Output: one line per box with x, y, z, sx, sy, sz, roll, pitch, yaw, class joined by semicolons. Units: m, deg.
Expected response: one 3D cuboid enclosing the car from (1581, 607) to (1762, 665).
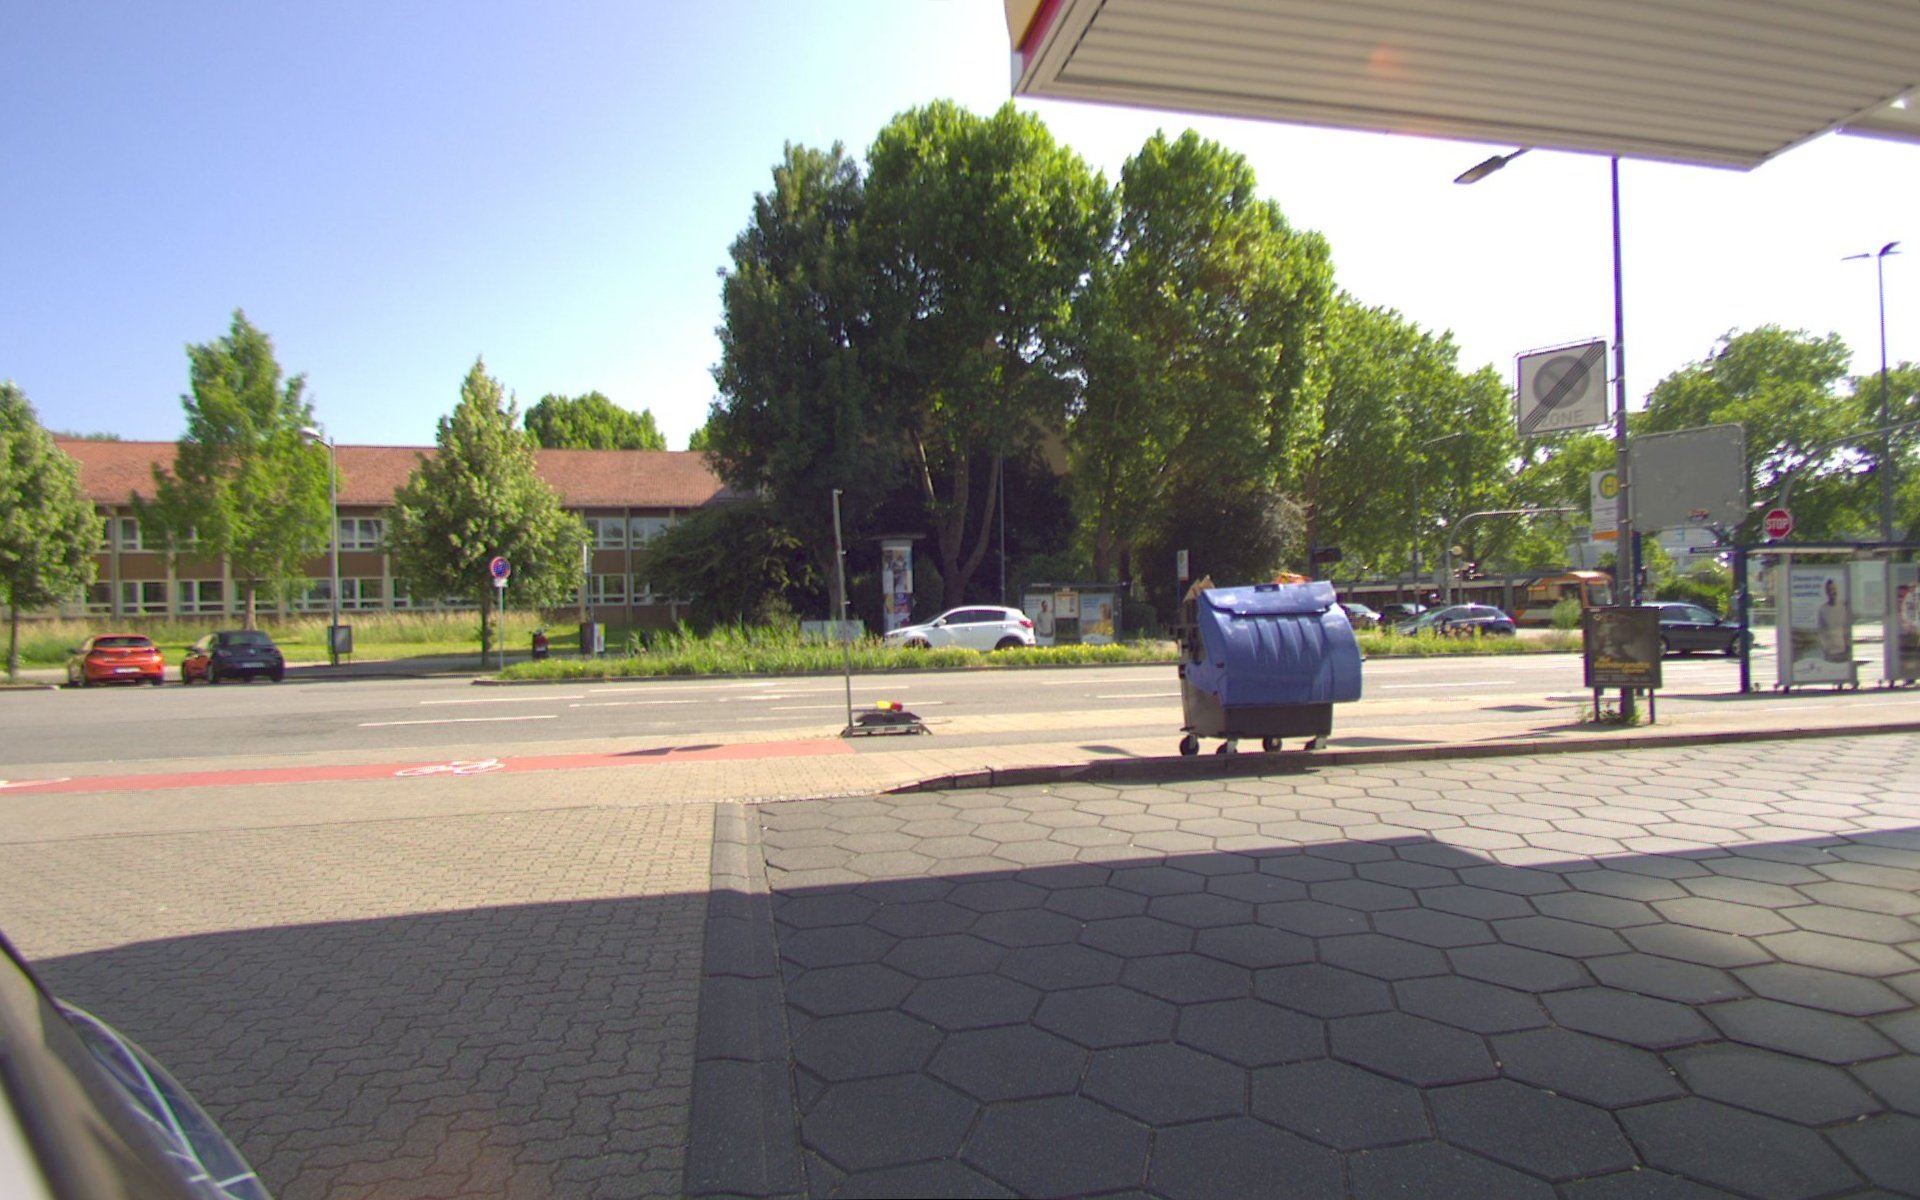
18.770;0.907;26.733;3.935;1.377;1.689;-1;1;-13;car

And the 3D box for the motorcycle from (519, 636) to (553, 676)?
-12.572;1.644;29.979;0.548;1.122;1.763;0;-1;-35;motorcycle

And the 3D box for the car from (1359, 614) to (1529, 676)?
15.015;1.367;31.541;4.323;1.782;2.003;-1;-1;-6;car

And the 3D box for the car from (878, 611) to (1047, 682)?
0.027;1.243;28.130;4.318;1.782;2.005;-1;-1;-12;car

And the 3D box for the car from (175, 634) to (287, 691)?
-20.621;1.773;28.566;4.225;1.471;1.717;-4;-3;42;car

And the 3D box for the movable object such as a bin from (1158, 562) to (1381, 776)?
2.651;0.582;8.884;1.315;1.701;1.346;-1;-4;-11;movable object such as a bin

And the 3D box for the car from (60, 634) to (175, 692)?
-23.312;1.734;27.947;4.225;1.471;1.855;-4;-4;42;car

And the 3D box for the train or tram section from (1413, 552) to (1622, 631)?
35.209;-0.293;65.258;2.289;4.524;14.982;0;-1;-13;train or tram section

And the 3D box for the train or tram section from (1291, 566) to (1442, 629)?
31.713;-0.004;80.331;2.289;4.524;15.966;0;-1;-13;train or tram section

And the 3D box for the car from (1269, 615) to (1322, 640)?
24.245;1.996;73.242;1.838;1.702;4.009;-1;-3;-11;car
